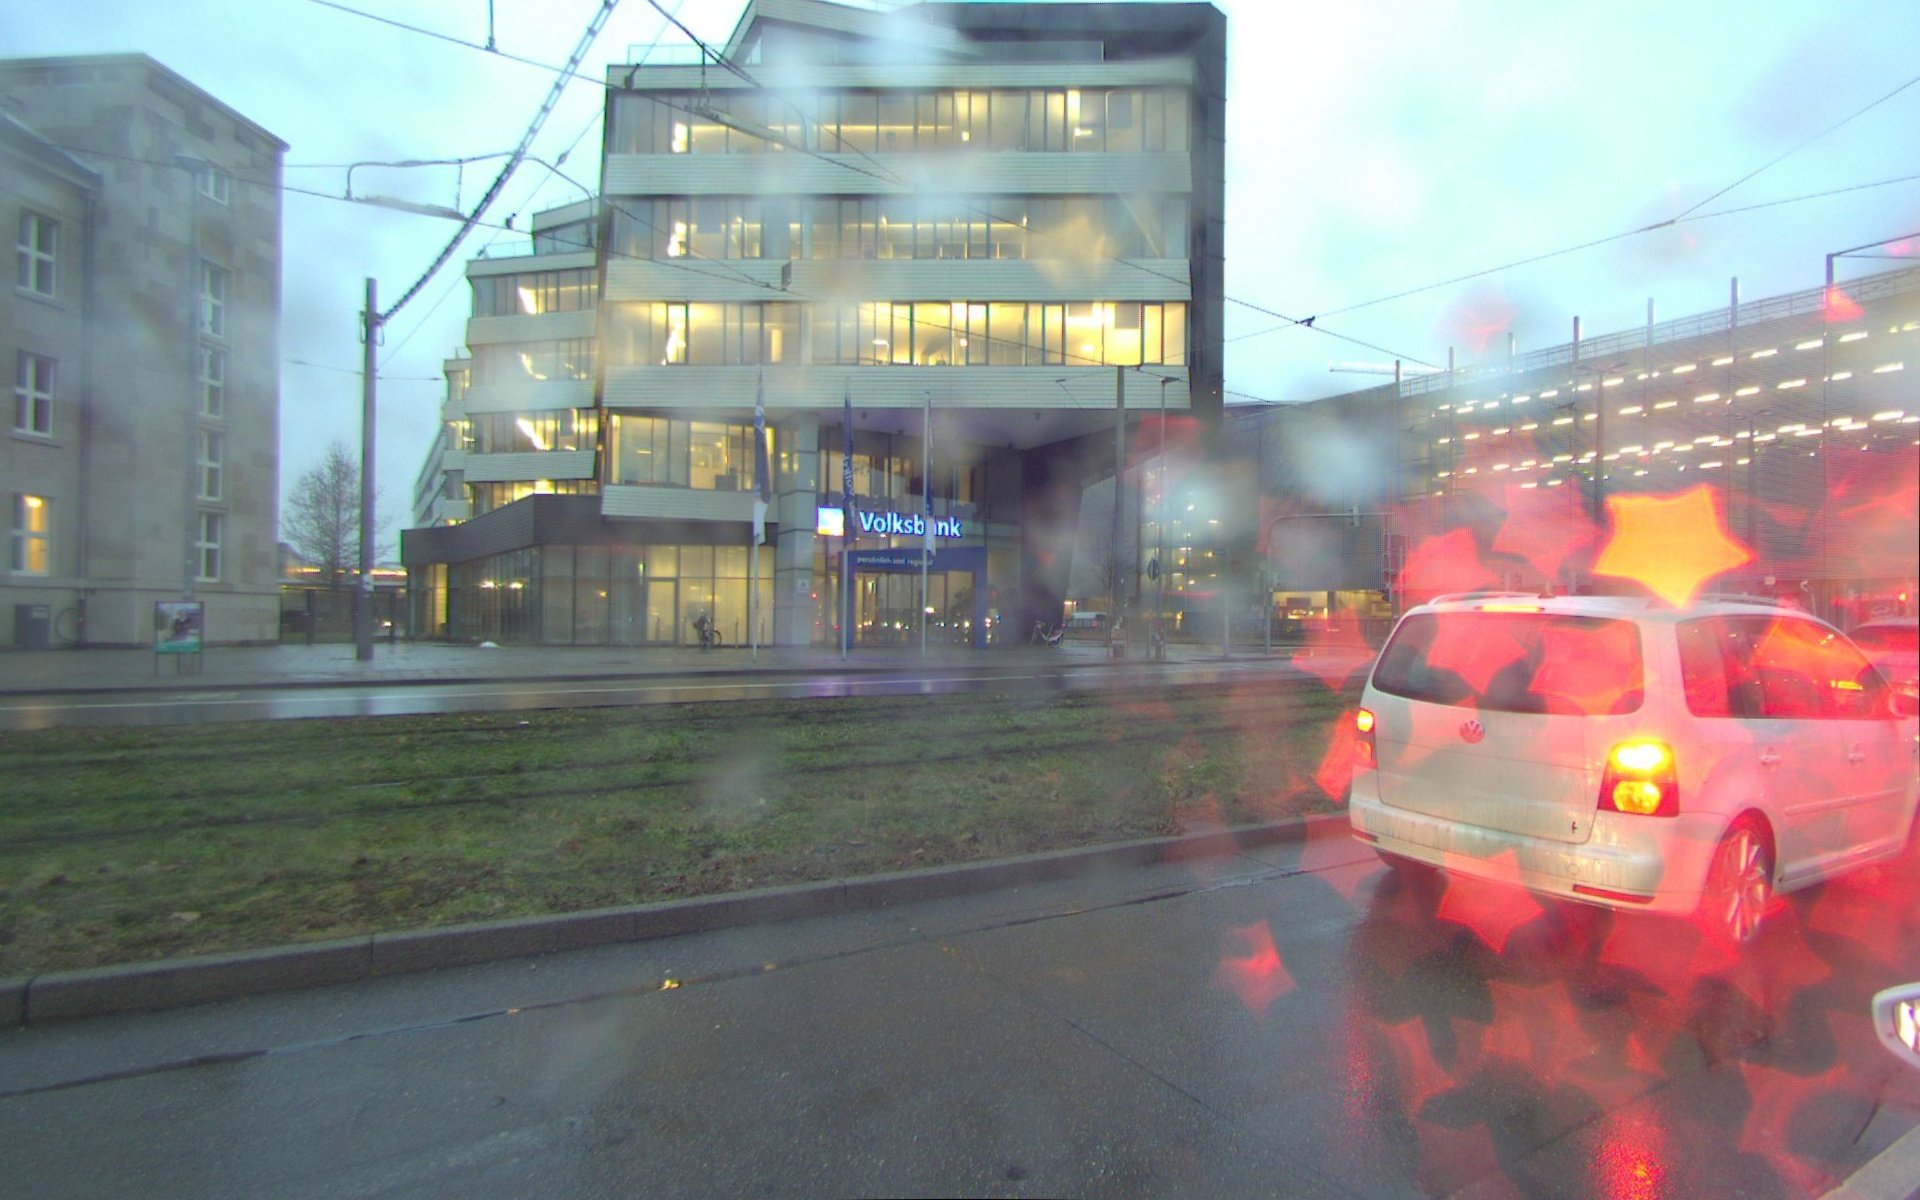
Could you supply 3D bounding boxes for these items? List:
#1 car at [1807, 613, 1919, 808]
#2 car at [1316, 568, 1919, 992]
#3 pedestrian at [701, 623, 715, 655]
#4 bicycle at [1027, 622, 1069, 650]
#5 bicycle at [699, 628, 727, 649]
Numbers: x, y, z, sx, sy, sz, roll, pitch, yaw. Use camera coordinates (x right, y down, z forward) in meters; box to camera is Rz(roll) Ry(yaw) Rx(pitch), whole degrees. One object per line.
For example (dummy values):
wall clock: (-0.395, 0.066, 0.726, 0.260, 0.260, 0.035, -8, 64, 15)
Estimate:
car: (9.533, 0.941, 9.194, 3.959, 1.595, 1.742, 1, -1, -34)
car: (4.094, 0.716, 5.790, 4.102, 1.682, 1.660, 1, 1, -33)
pedestrian: (-8.615, 1.334, 34.366, 0.380, 1.103, 0.325, 0, -1, 5)
bicycle: (3.520, 1.446, 40.108, 1.588, 1.105, 0.553, 1, -1, -23)
bicycle: (-8.624, 1.354, 35.065, 0.896, 0.724, 0.483, 1, -1, -10)
